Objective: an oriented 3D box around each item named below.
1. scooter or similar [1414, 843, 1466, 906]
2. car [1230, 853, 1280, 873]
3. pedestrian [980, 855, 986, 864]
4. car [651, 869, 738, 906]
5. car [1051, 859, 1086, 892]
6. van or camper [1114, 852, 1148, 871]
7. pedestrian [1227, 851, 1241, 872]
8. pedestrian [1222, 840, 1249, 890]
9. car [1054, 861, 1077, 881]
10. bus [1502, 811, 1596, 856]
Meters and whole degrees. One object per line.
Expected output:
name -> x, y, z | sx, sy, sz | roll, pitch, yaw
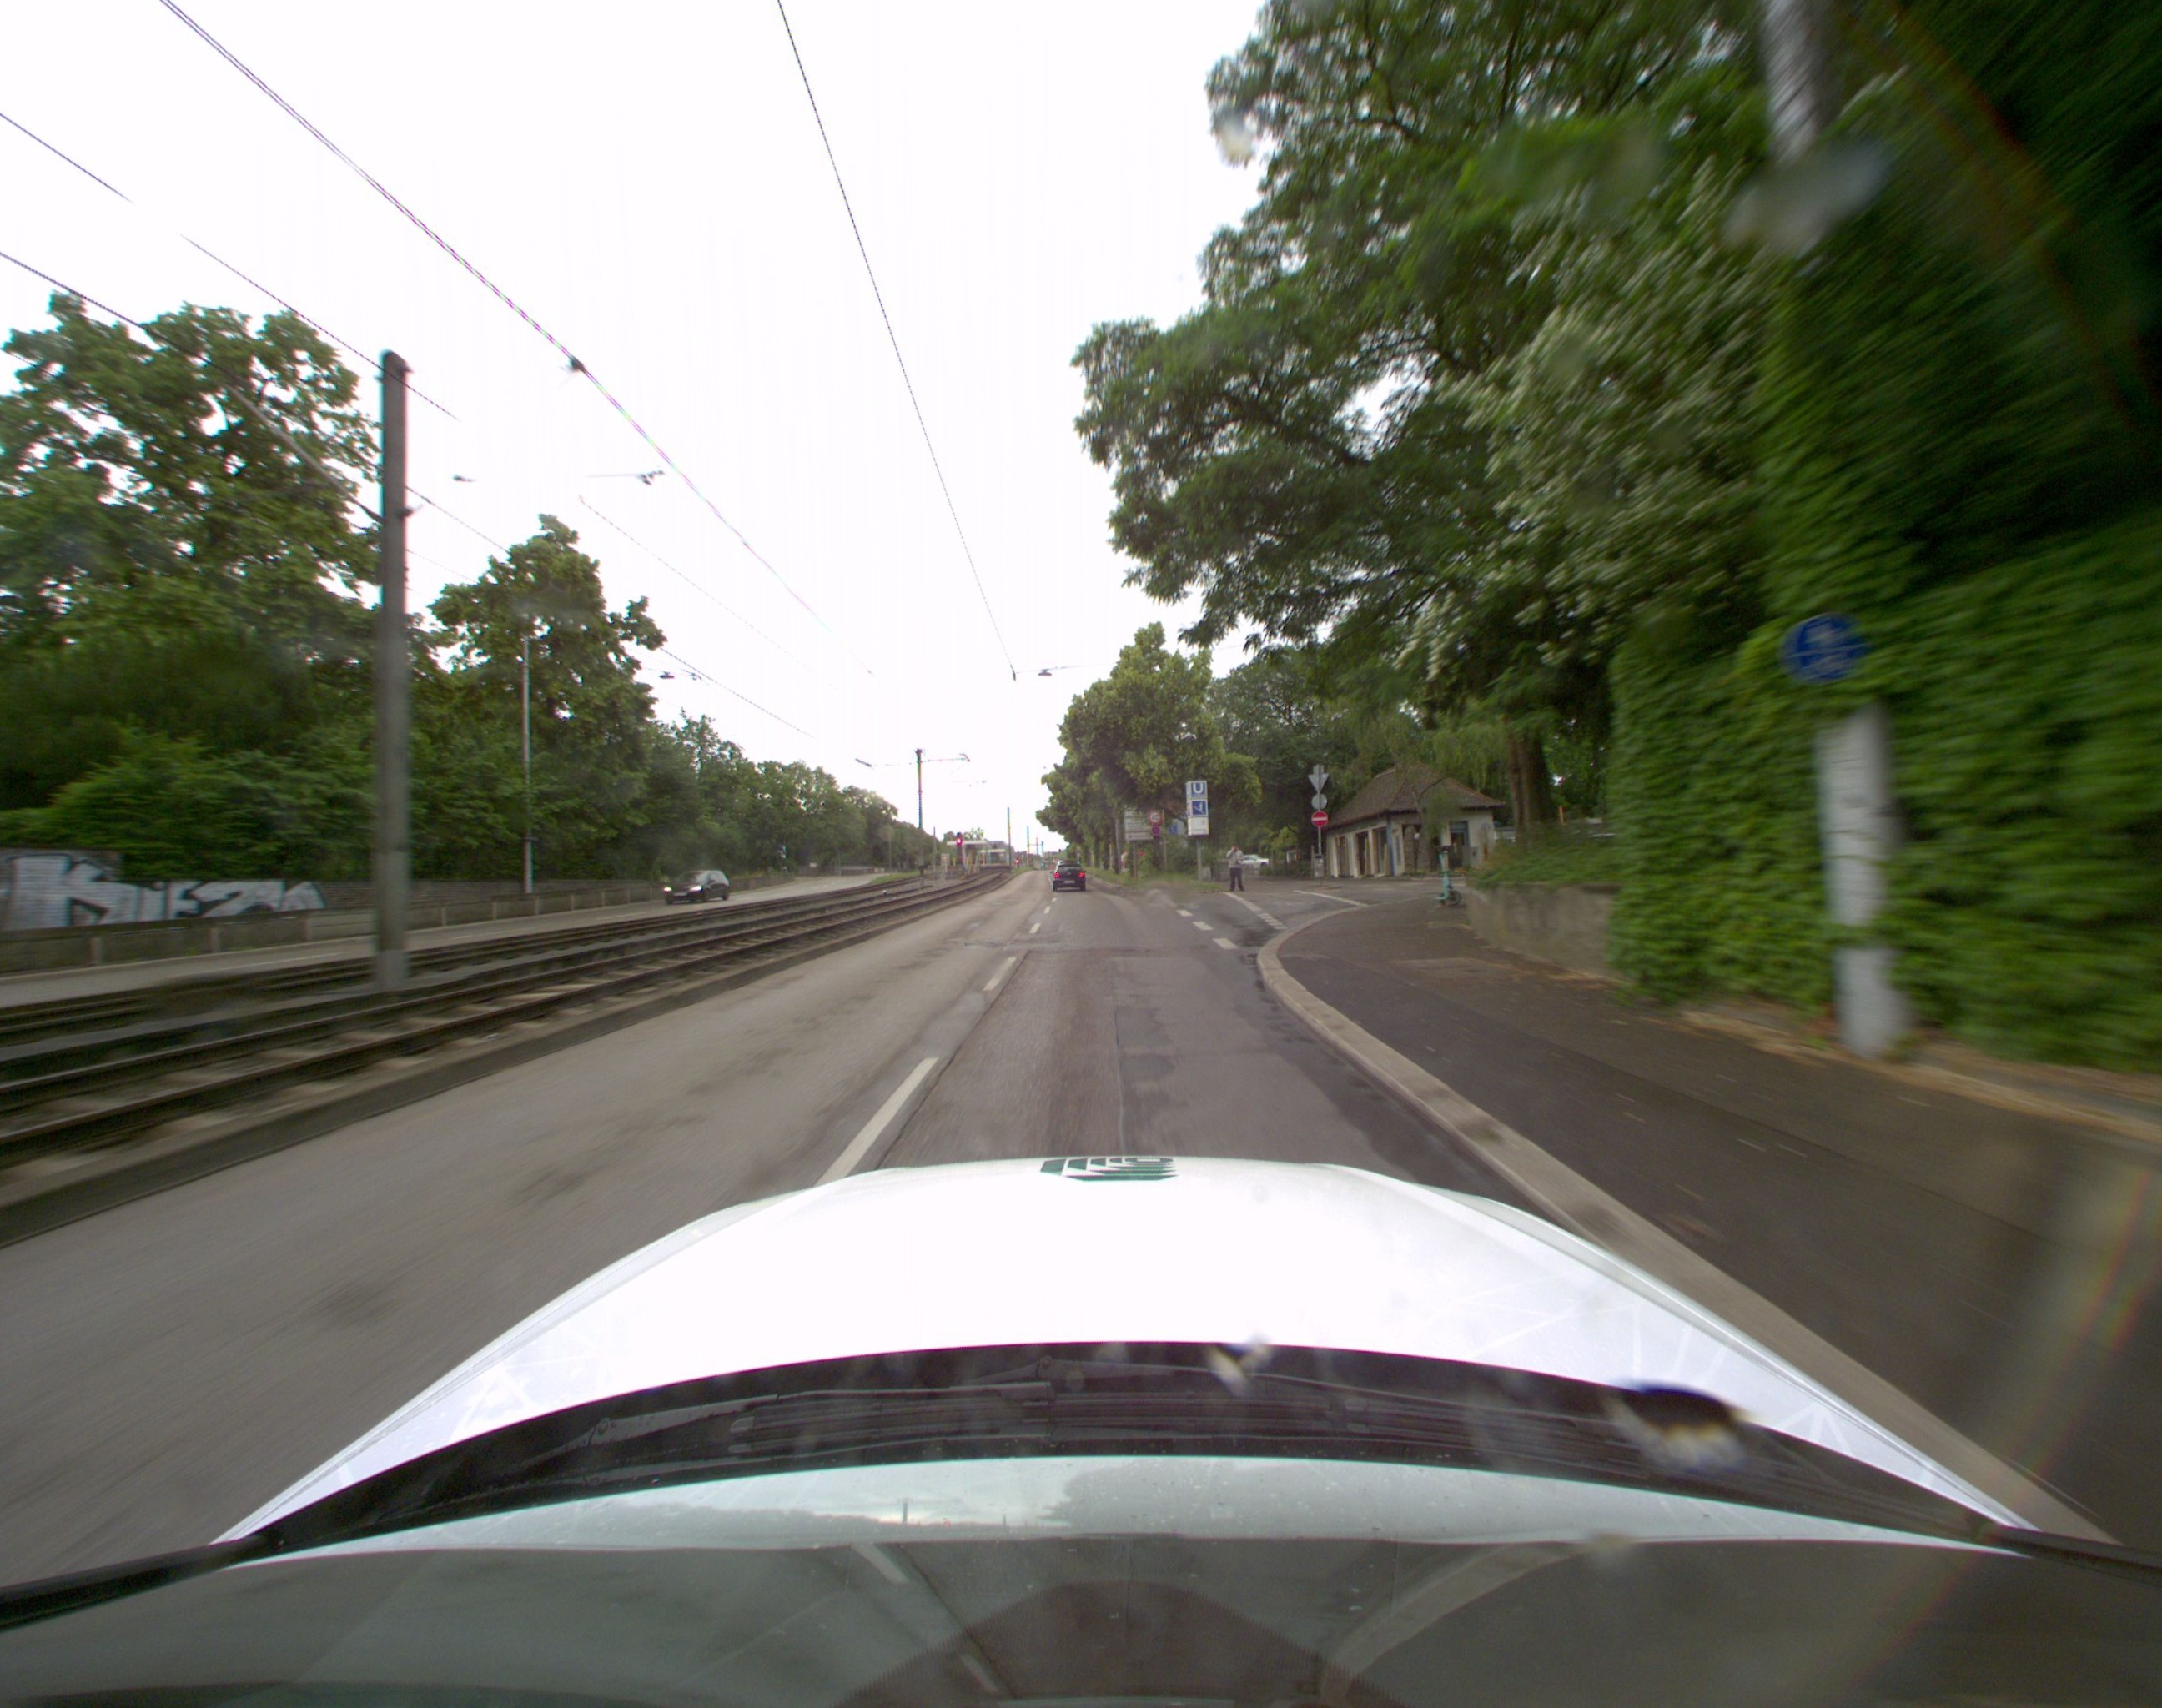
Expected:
scooter or similar -> 7.448, 0.419, 16.940 | 0.511, 1.230, 1.317 | -5, -1, 7
car -> 16.983, 0.882, 79.632 | 1.956, 1.834, 4.414 | 1, -1, -43
pedestrian -> -14.143, 0.826, 117.501 | 0.708, 1.225, 0.619 | -1, -1, -2
car -> -17.531, 1.487, 37.193 | 1.960, 1.441, 4.318 | -3, -1, -2
car -> -0.627, 1.079, 42.232 | 1.721, 1.540, 3.999 | -2, 0, 0
van or camper -> 7.214, 1.092, 116.714 | 2.015, 2.406, 5.424 | 1, -1, 41
pedestrian -> 14.894, 0.689, 79.266 | 0.965, 2.014, 0.942 | -1, -1, -26
pedestrian -> 5.842, 0.424, 30.838 | 0.852, 1.854, 0.737 | -1, -1, 1
car -> -1.257, 1.302, 63.606 | 1.683, 1.517, 3.997 | -2, 0, -2
bus -> 31.220, -1.247, 54.694 | 2.243, 2.701, 7.170 | -2, -1, 2
